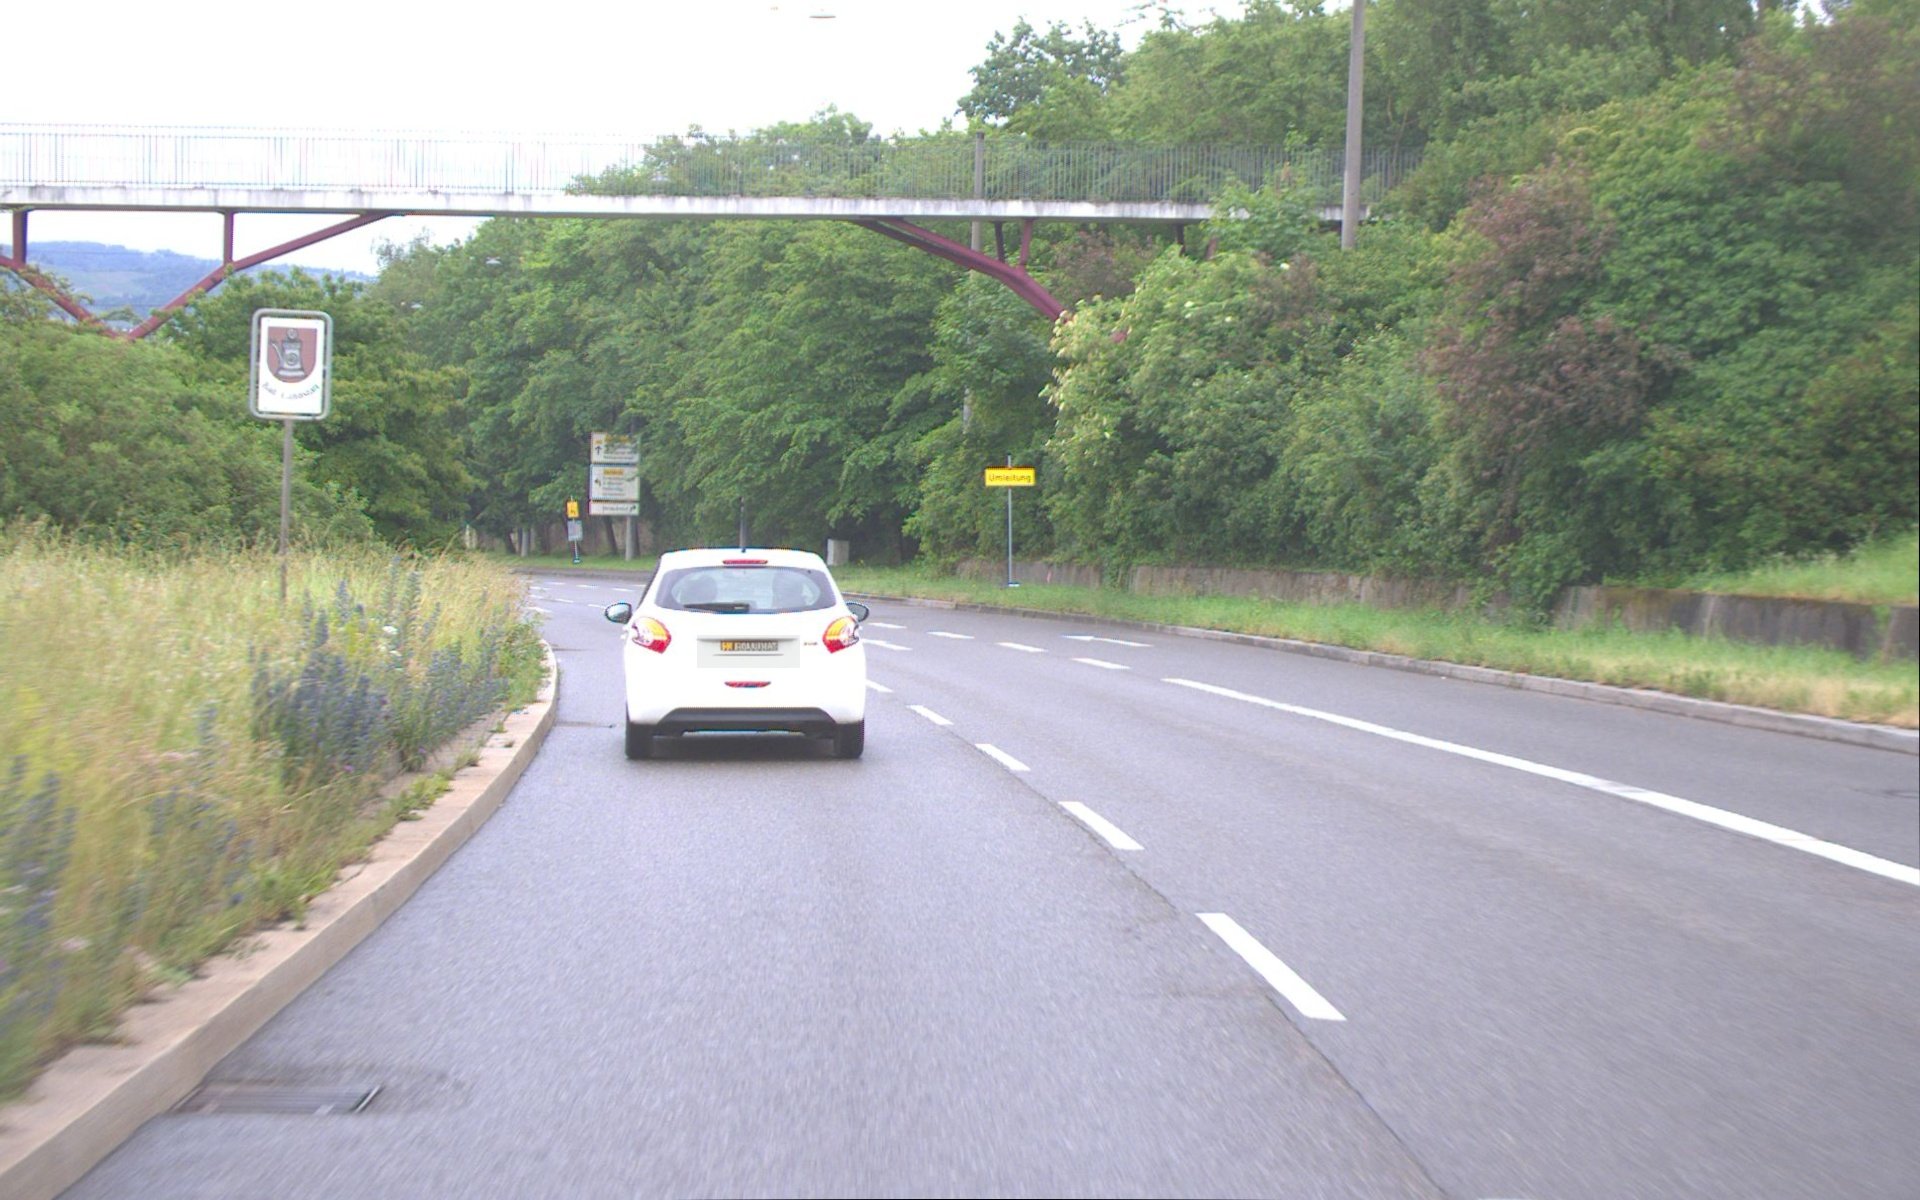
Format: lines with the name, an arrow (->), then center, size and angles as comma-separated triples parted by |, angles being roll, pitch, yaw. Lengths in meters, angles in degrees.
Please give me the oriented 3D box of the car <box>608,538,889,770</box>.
car -> -1.560, 0.336, 25.240 | 1.868, 1.505, 3.900 | 1, 1, -4
